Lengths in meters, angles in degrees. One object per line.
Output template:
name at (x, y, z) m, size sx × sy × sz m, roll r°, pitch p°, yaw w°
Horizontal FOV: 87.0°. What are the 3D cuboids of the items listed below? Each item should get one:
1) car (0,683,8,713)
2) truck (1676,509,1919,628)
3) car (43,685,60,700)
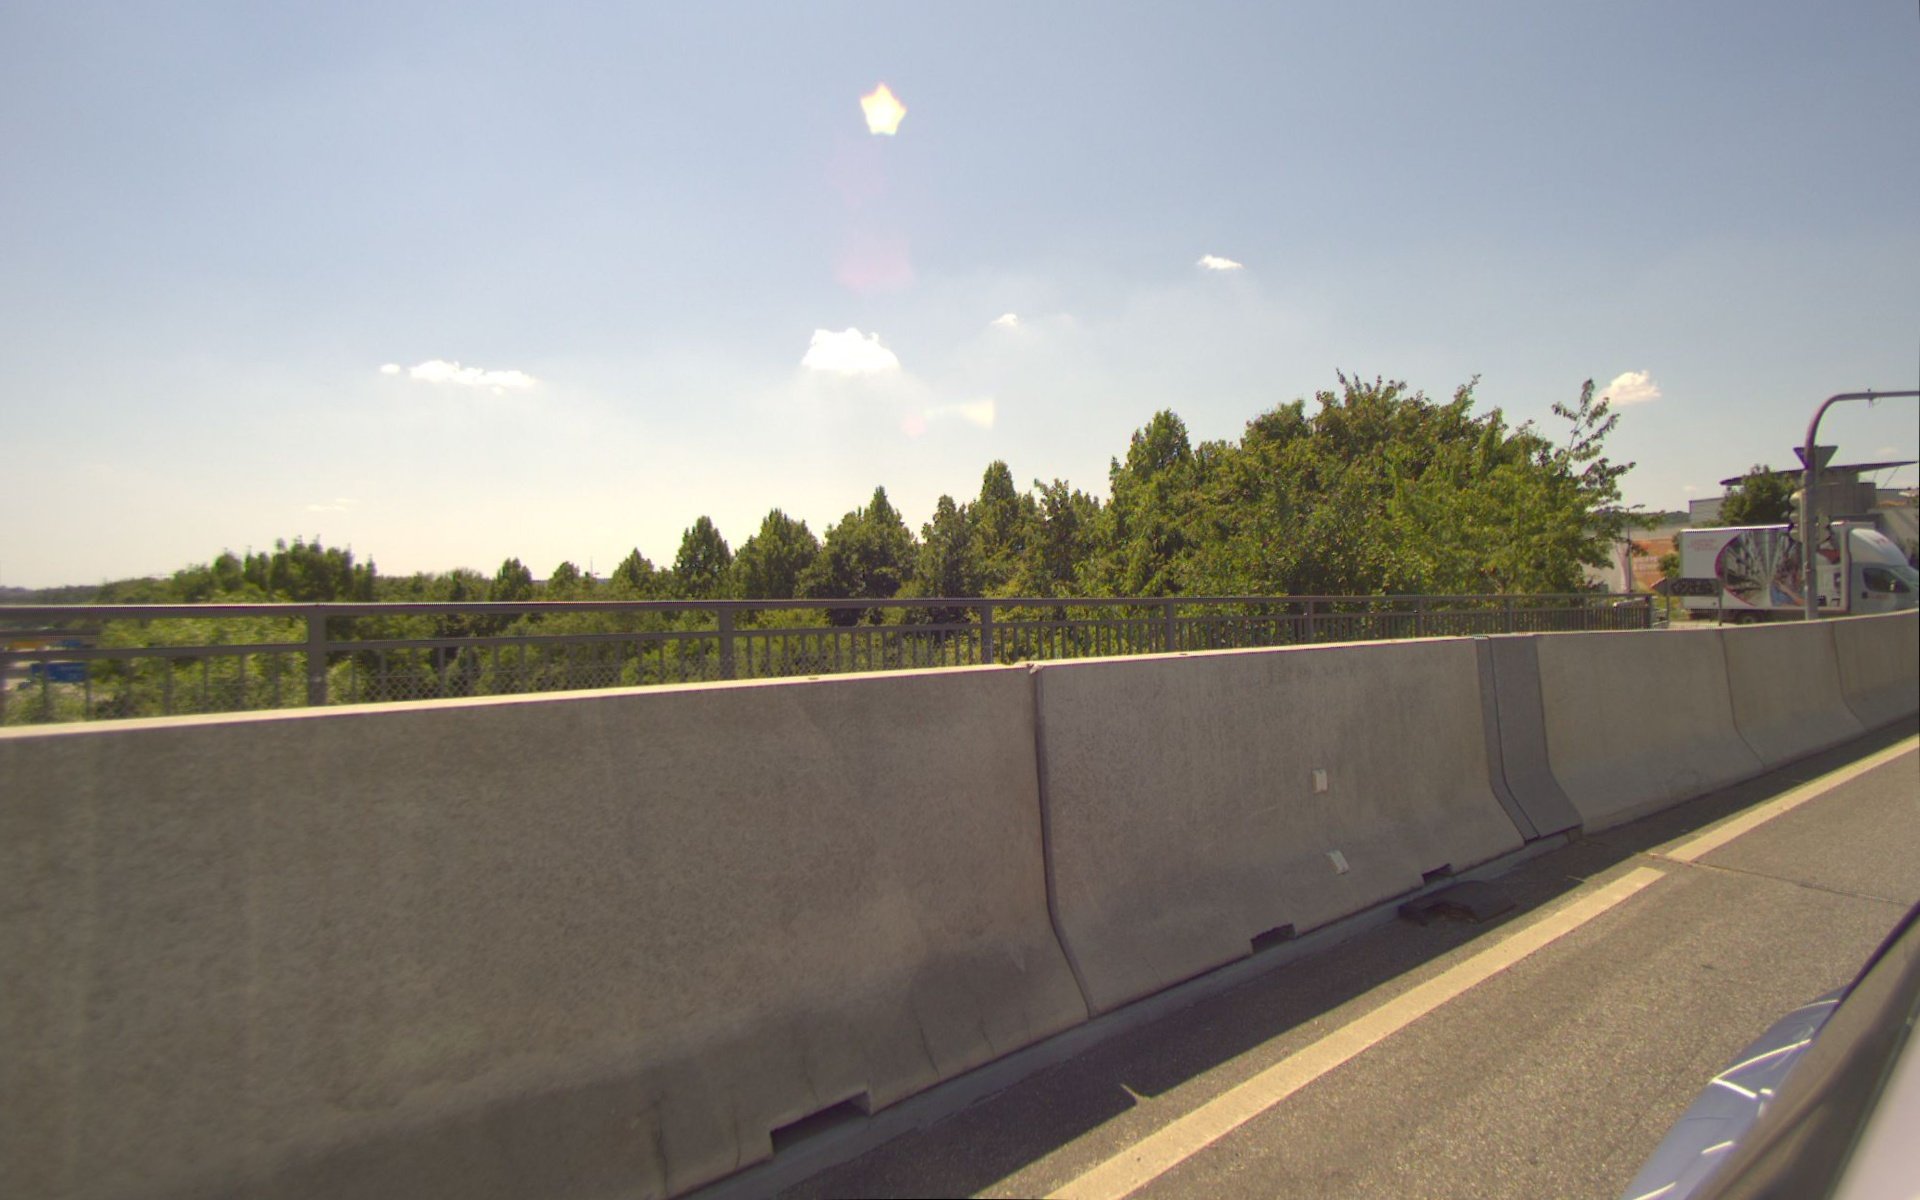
car at (-104.443, 10.587, 108.706) m, size 2.873 × 3.119 × 7.361 m, roll -1°, pitch -3°, yaw -41°
truck at (27.100, -0.957, 31.706) m, size 2.368 × 3.388 × 7.210 m, roll -4°, pitch 1°, yaw -29°
car at (-125.482, 12.788, 139.778) m, size 1.649 × 1.899 × 3.993 m, roll -1°, pitch -3°, yaw -40°
